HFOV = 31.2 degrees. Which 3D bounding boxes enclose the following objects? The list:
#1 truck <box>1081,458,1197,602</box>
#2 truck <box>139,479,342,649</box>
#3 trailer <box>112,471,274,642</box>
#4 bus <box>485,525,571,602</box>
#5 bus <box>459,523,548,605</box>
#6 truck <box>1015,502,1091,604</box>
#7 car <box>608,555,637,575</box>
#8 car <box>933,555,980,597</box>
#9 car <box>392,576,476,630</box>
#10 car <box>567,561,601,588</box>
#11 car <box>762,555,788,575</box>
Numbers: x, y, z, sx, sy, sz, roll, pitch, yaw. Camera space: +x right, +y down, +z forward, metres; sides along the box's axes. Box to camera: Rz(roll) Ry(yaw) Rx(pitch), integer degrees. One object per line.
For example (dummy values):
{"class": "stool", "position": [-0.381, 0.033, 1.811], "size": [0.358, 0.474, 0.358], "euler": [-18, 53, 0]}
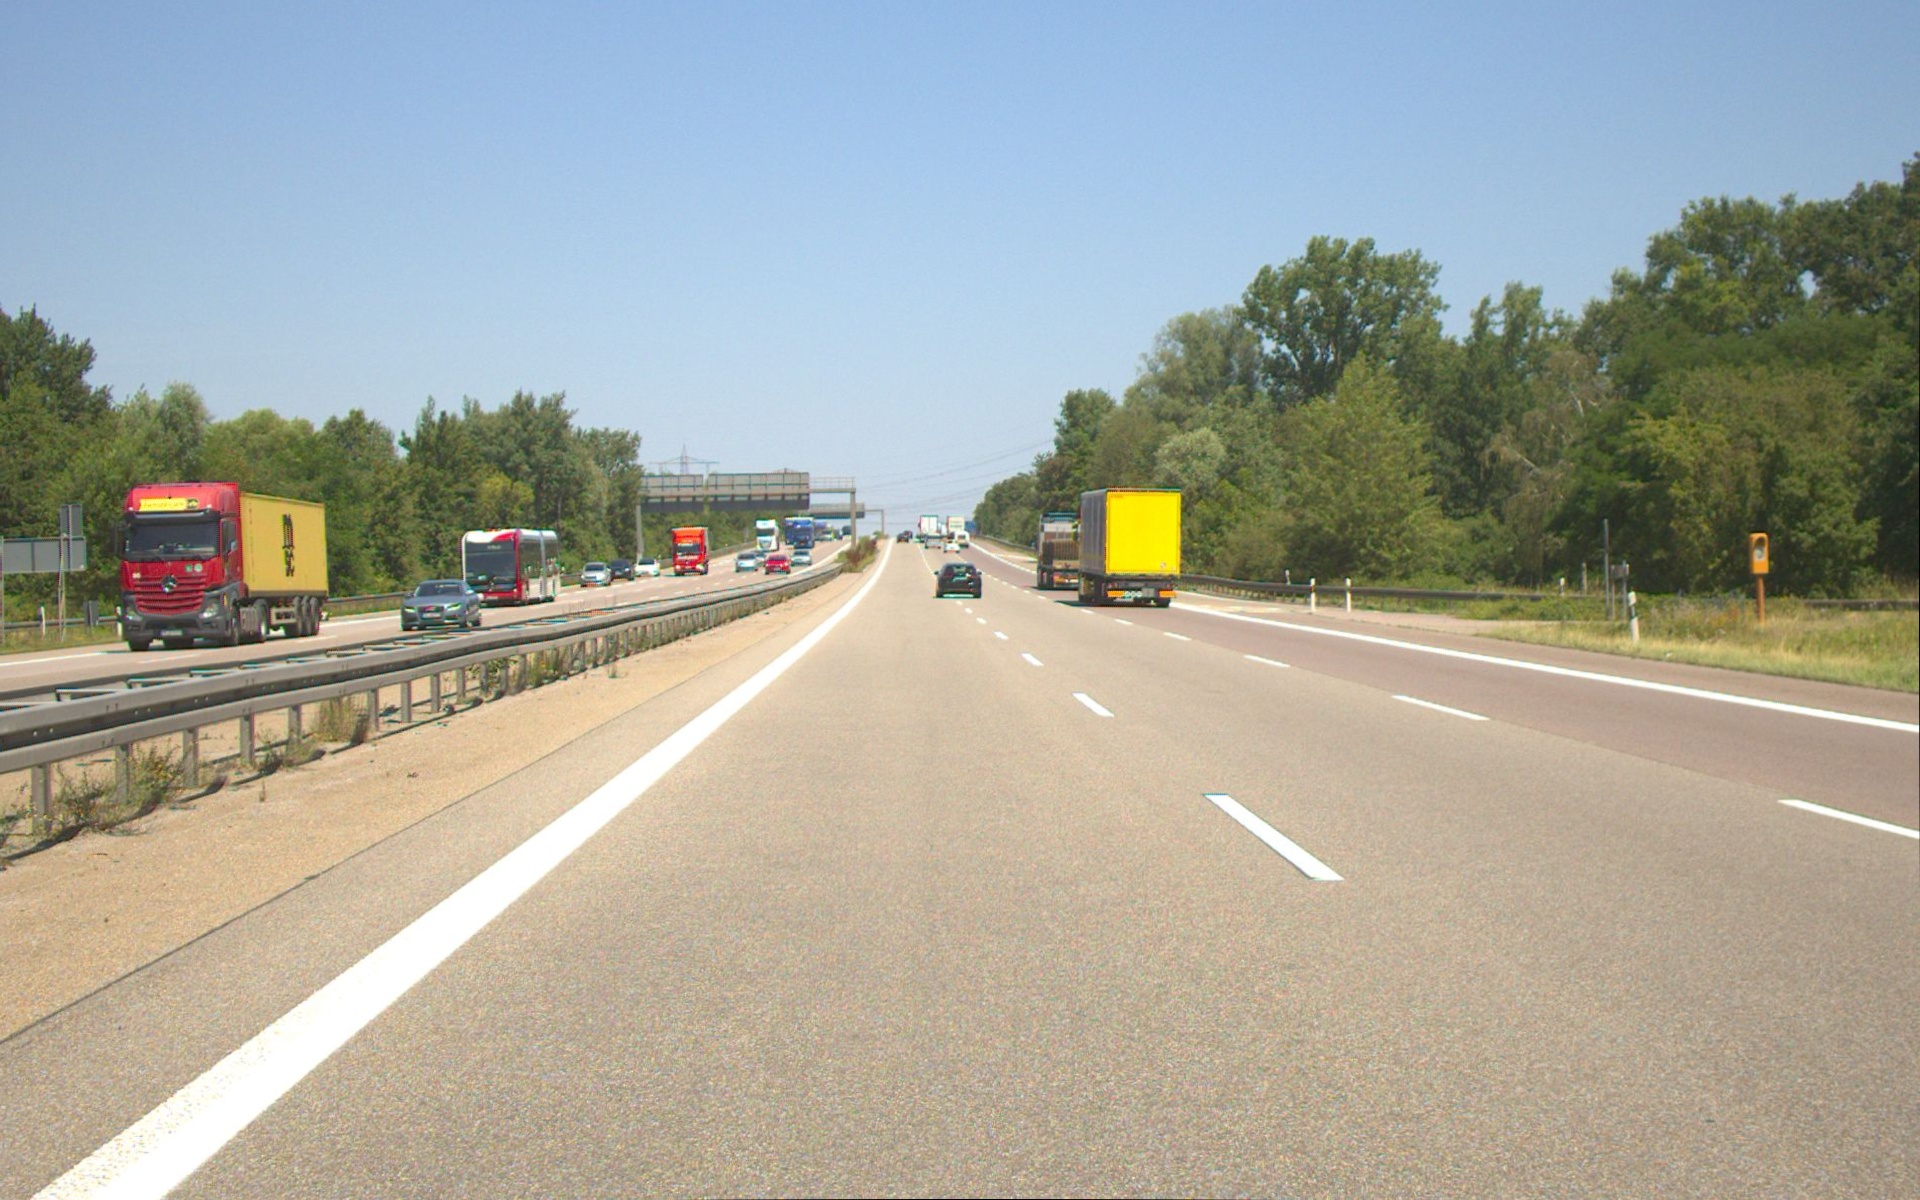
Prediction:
{"class": "truck", "position": [6.361, -2.464, 124.702], "size": [3.377, 4.864, 15.086], "euler": [1, 1, 0]}
{"class": "truck", "position": [-18.741, -0.949, 90.398], "size": [2.599, 4.034, 12.693], "euler": [-3, 1, -1]}
{"class": "trailer", "position": [-18.590, -1.052, 83.646], "size": [2.603, 3.978, 6.029], "euler": [1, 1, -1]}
{"class": "bus", "position": [-20.190, -1.702, 161.092], "size": [2.763, 3.435, 10.146], "euler": [-1, 1, -1]}
{"class": "bus", "position": [-20.057, -1.594, 151.528], "size": [2.763, 3.435, 8.932], "euler": [-1, 1, -1]}
{"class": "truck", "position": [4.597, -2.362, 173.277], "size": [3.367, 4.864, 15.086], "euler": [1, 1, 0]}
{"class": "car", "position": [-25.208, -2.627, 256.637], "size": [1.808, 1.498, 4.000], "euler": [-1, 1, -1]}
{"class": "car", "position": [-0.153, -0.994, 141.330], "size": [1.827, 1.700, 4.000], "euler": [1, 1, -1]}
{"class": "car", "position": [-14.879, 0.074, 97.454], "size": [1.720, 1.376, 4.787], "euler": [-4, 0, -2]}
{"class": "car", "position": [-25.133, -1.743, 229.827], "size": [1.808, 1.766, 4.000], "euler": [-1, 1, -1]}
{"class": "car", "position": [-13.864, -2.621, 257.668], "size": [1.808, 1.498, 4.000], "euler": [-1, 1, -1]}
